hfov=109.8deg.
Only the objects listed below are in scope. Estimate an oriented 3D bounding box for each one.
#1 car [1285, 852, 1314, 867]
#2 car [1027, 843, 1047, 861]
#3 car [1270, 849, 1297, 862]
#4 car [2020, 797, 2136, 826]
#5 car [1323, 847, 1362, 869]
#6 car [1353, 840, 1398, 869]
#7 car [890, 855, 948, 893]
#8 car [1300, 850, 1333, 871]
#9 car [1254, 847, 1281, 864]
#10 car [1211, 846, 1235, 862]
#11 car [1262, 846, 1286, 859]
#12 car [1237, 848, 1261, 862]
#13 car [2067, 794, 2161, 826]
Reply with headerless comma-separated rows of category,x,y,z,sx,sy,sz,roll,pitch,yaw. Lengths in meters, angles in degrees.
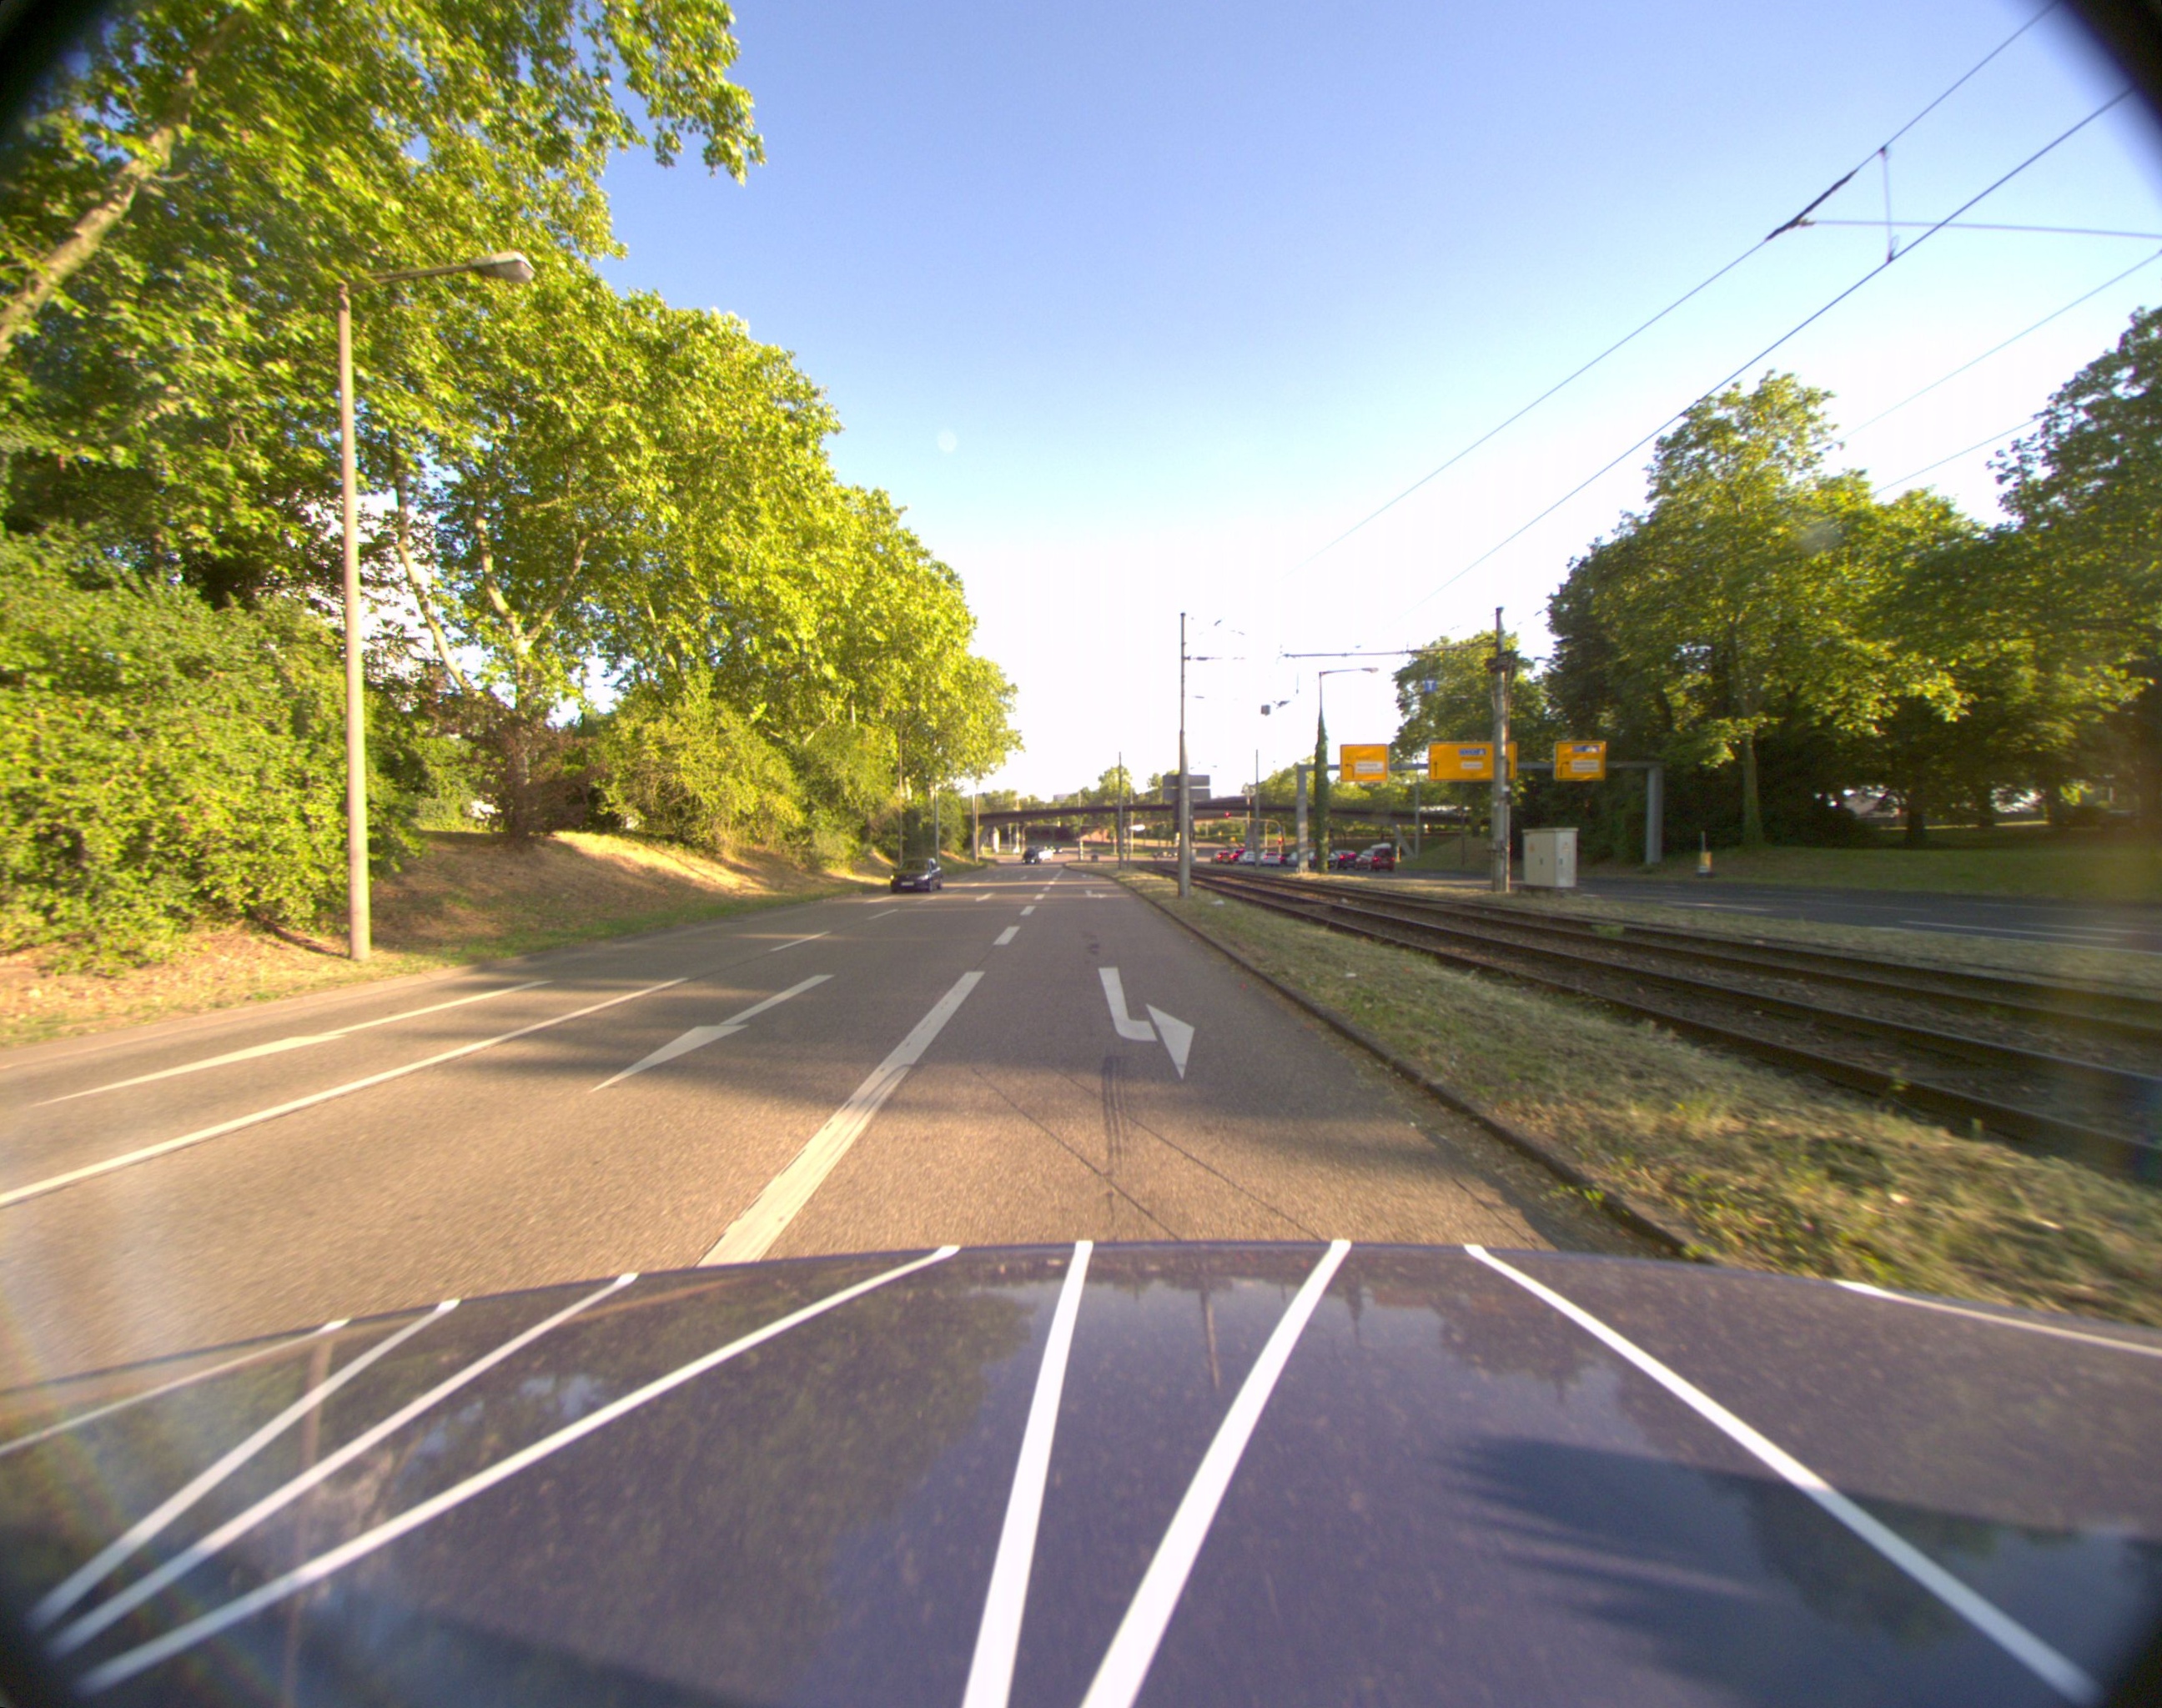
car,22.409,0.538,78.144,1.797,1.473,3.999,-2,1,0
car,-5.399,-0.279,93.761,1.998,2.150,4.190,-2,1,1
car,22.451,0.147,84.299,1.797,1.375,4.475,-2,1,0
car,60.104,-2.534,45.875,3.992,1.543,1.809,-2,1,15
car,21.921,0.297,63.783,1.797,1.740,4.240,-2,1,0
car,22.190,0.005,57.380,1.797,2.093,3.999,-2,1,0
car,-7.003,0.846,33.205,1.629,1.434,3.984,-2,1,0
car,21.684,0.595,70.194,1.797,1.740,3.999,-2,1,0
car,18.542,0.092,75.737,1.667,1.556,4.189,-2,1,0
car,14.710,0.008,78.915,1.667,1.556,3.999,-2,1,0
car,22.638,-0.197,89.130,1.797,1.433,3.999,-2,1,0
car,18.239,0.075,82.698,1.746,1.424,4.411,1,1,2
car,55.787,-2.362,40.450,3.995,1.543,1.808,-2,1,6
